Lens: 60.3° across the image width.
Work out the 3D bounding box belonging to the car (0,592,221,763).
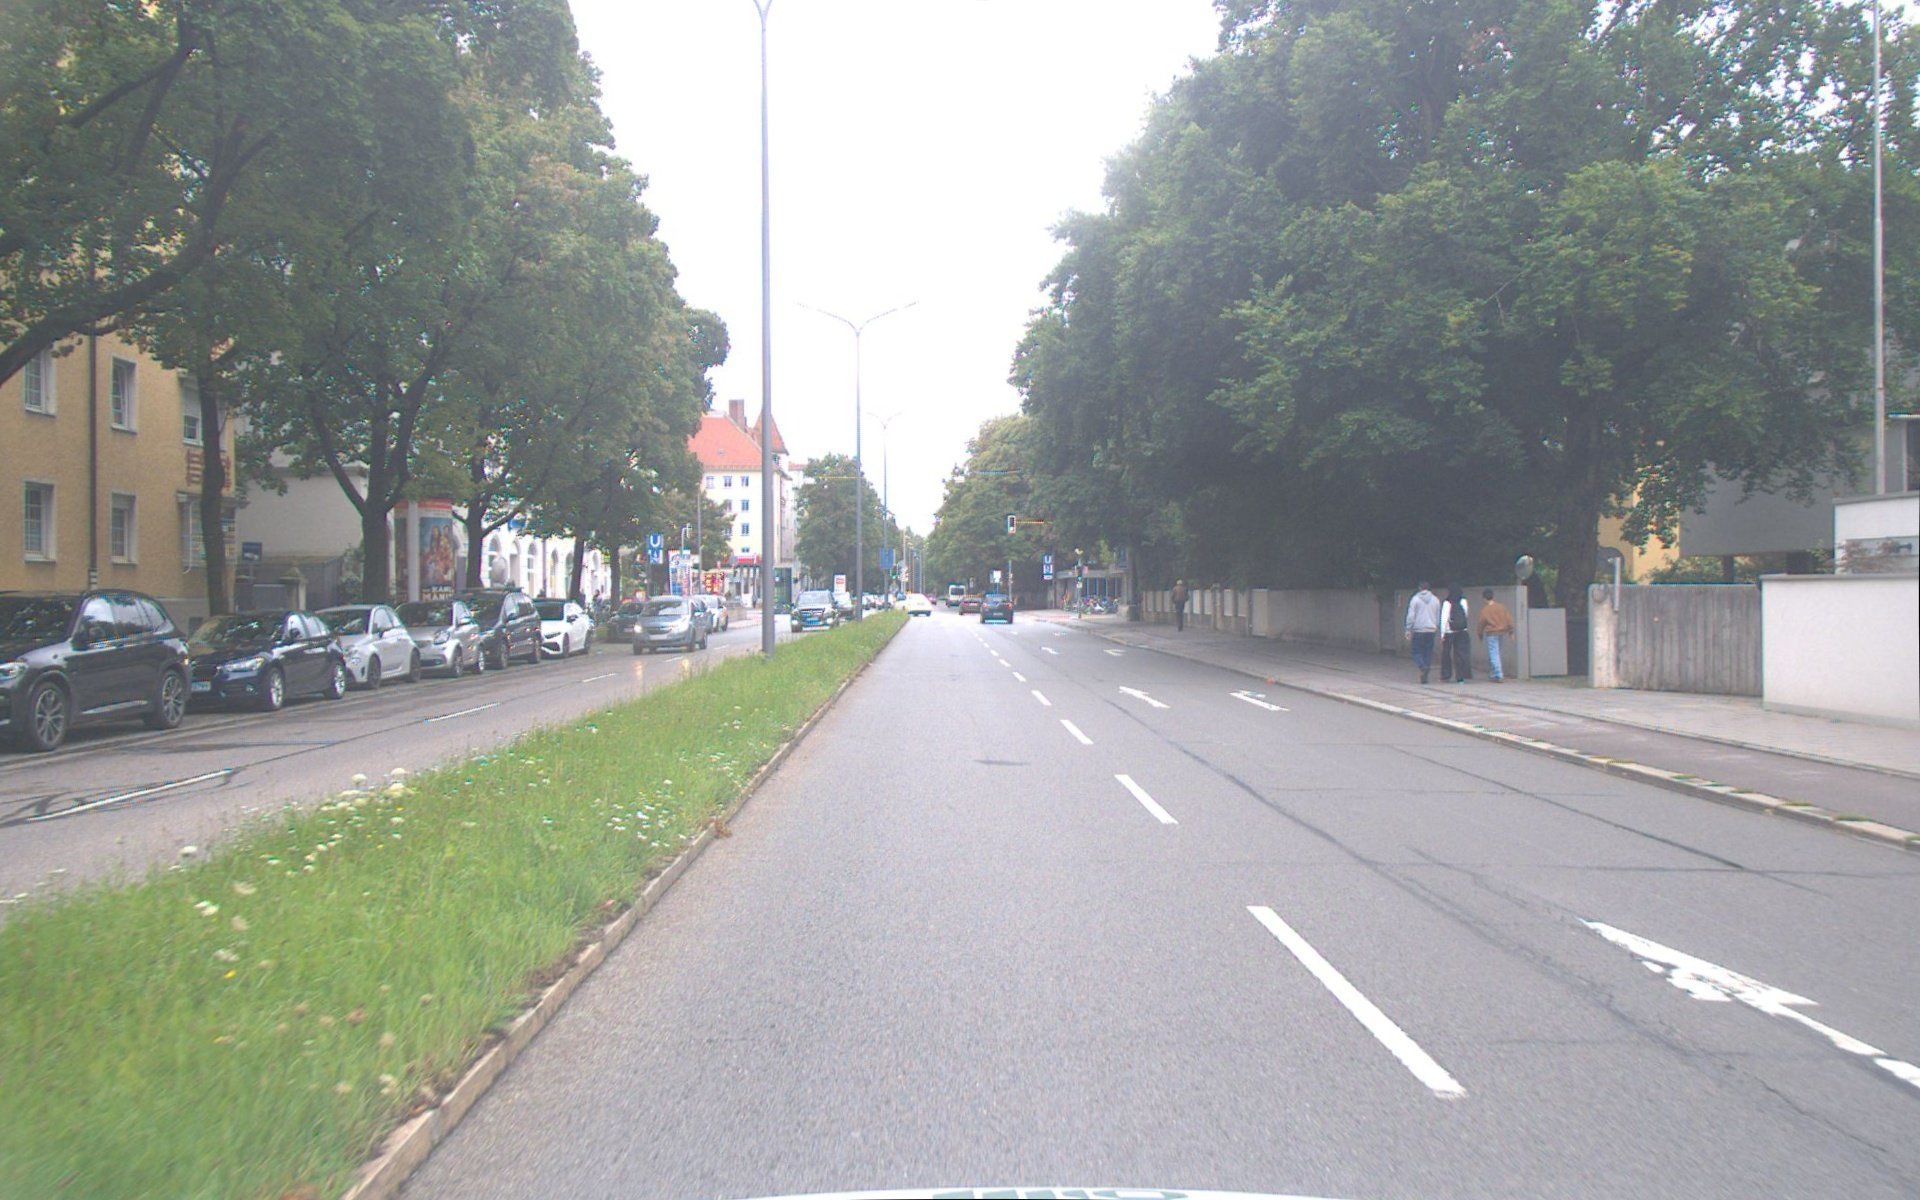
[{"bbox_3d":[-10.293,0.759,18.631,1.840,1.674,4.769,0,0,-1],"label":"car"}]

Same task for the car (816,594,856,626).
[{"bbox_3d":[-6.755,0.529,90.494,1.837,1.612,4.620,-3,0,-1],"label":"car"}]

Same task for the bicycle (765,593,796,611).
[{"bbox_3d":[-13.632,0.178,125.516,2.225,1.327,0.704,0,0,0],"label":"bicycle"}]

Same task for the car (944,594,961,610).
[{"bbox_3d":[-0.871,0.225,190.099,1.953,1.787,3.999,0,0,-2],"label":"car"}]

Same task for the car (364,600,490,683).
[{"bbox_3d":[-10.772,0.810,33.624,1.692,1.585,3.008,0,0,-3],"label":"car"}]

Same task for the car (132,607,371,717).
[{"bbox_3d":[-10.293,0.839,24.410,1.691,1.430,4.362,0,0,-1],"label":"car"}]

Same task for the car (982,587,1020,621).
[{"bbox_3d":[2.159,0.189,87.173,1.819,1.713,3.999,0,0,-1],"label":"car"}]

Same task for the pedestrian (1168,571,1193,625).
[{"bbox_3d":[8.289,-0.075,62.196,0.762,1.976,0.802,-2,0,-1],"label":"pedestrian"}]

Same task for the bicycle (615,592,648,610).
[{"bbox_3d":[-24.156,0.055,121.802,2.352,1.273,0.790,1,-1,-12],"label":"bicycle"}]

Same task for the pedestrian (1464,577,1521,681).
[{"bbox_3d":[9.147,0.482,28.419,0.653,1.735,0.766,-2,0,-2],"label":"pedestrian"}]

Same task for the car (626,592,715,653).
[{"bbox_3d":[-8.047,0.592,46.317,1.774,1.533,4.056,-2,0,-1],"label":"car"}]

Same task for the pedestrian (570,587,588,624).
[{"bbox_3d":[-17.600,0.257,76.484,0.585,1.726,0.937,0,0,-28],"label":"pedestrian"}]

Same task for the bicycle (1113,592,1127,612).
[{"bbox_3d":[9.399,0.117,97.040,0.587,1.141,1.889,0,-1,-1],"label":"bicycle"}]

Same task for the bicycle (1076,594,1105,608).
[{"bbox_3d":[9.540,0.079,120.750,2.097,1.032,0.603,0,0,7],"label":"bicycle"}]

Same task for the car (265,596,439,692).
[{"bbox_3d":[-10.847,0.742,29.800,1.691,1.589,4.056,0,0,-1],"label":"car"}]

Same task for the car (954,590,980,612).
[{"bbox_3d":[0.500,0.052,119.681,1.743,1.499,3.892,1,0,-1],"label":"car"}]

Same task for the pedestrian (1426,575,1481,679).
[{"bbox_3d":[8.449,0.454,28.337,0.653,1.722,0.728,-2,0,-2],"label":"pedestrian"}]

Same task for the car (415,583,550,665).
[{"bbox_3d":[-10.861,0.505,37.966,1.773,1.758,4.766,0,0,-1],"label":"car"}]

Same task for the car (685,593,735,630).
[{"bbox_3d":[-11.090,0.486,73.564,1.615,1.612,3.790,0,0,1],"label":"car"}]

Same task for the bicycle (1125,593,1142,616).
[{"bbox_3d":[8.575,0.227,81.879,0.609,1.109,2.025,0,0,-1],"label":"bicycle"}]

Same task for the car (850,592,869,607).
[{"bbox_3d":[-9.998,-0.043,165.232,1.724,1.486,3.999,0,0,-1],"label":"car"}]

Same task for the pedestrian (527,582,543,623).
[{"bbox_3d":[-18.092,0.089,70.394,0.532,1.726,0.770,0,0,-3],"label":"pedestrian"}]

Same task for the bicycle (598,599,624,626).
[{"bbox_3d":[-15.075,0.533,71.491,0.453,1.135,1.944,0,0,-32],"label":"bicycle"}]

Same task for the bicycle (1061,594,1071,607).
[{"bbox_3d":[8.112,0.025,127.010,0.545,1.032,2.014,0,0,-3],"label":"bicycle"}]

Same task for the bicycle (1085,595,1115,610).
[{"bbox_3d":[10.054,0.174,118.584,2.097,1.032,0.634,0,0,7],"label":"bicycle"}]

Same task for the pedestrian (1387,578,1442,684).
[{"bbox_3d":[7.772,0.521,28.323,0.653,1.752,0.728,-2,0,-2],"label":"pedestrian"}]

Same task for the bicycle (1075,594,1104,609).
[{"bbox_3d":[9.489,0.113,121.478,2.097,1.105,0.603,0,0,7],"label":"bicycle"}]

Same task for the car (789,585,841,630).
[{"bbox_3d":[-5.916,0.294,67.770,1.733,1.708,4.368,-2,0,-1],"label":"car"}]

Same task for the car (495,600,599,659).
[{"bbox_3d":[-10.809,0.730,43.577,1.691,1.427,4.403,0,0,-1],"label":"car"}]

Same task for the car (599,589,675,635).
[{"bbox_3d":[-11.182,0.389,57.460,1.774,1.533,4.644,0,0,-1],"label":"car"}]

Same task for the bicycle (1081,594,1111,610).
[{"bbox_3d":[9.824,0.148,119.385,2.097,1.089,0.603,0,0,7],"label":"bicycle"}]

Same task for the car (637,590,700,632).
[{"bbox_3d":[-11.164,0.395,63.545,1.774,1.533,3.959,0,0,-1],"label":"car"}]

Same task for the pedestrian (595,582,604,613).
[{"bbox_3d":[-19.280,-0.144,88.464,0.415,1.660,0.780,0,0,-16],"label":"pedestrian"}]

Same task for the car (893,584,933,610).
[{"bbox_3d":[-3.162,-0.196,110.771,1.748,1.675,4.765,0,0,-13],"label":"car"}]

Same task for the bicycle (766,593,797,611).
[{"bbox_3d":[-13.620,0.163,126.296,2.238,1.327,0.694,0,0,0],"label":"bicycle"}]

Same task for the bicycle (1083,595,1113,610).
[{"bbox_3d":[9.869,0.188,117.956,2.097,1.032,0.603,0,0,7],"label":"bicycle"}]

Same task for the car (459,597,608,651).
[{"bbox_3d":[-12.137,0.675,47.246,3.811,1.489,1.731,0,0,-3],"label":"car"}]
